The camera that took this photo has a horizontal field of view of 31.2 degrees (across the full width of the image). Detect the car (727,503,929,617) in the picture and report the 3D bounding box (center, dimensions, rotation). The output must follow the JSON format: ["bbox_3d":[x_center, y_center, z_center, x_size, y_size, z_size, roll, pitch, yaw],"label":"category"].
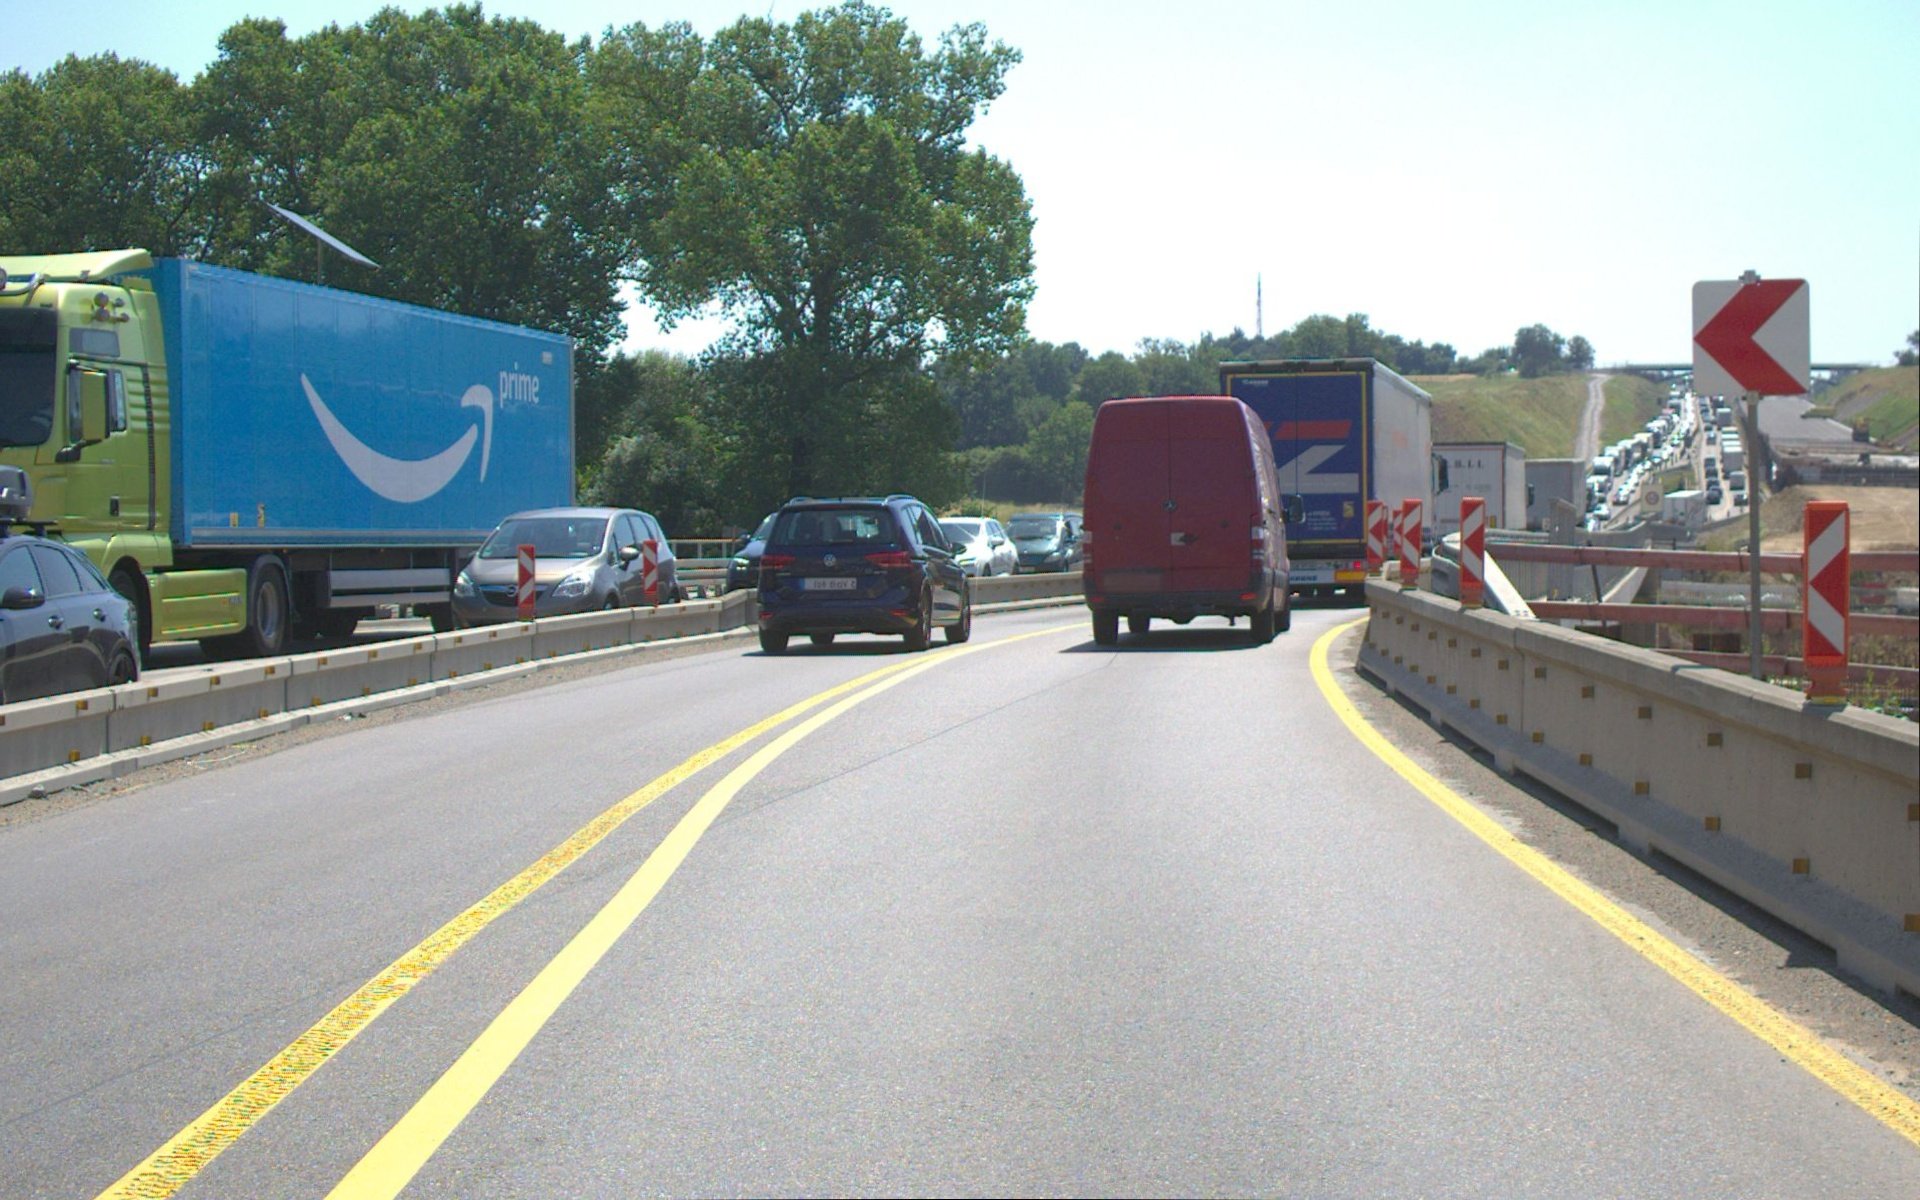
[{"bbox_3d":[-1.953,-0.651,52.429,1.882,1.641,4.712,1,2,13],"label":"car"}]

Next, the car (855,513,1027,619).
[{"bbox_3d":[-0.286,-0.625,59.584,1.821,1.641,4.568,1,3,15],"label":"car"}]

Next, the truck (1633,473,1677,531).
[{"bbox_3d":[39.266,-5.530,194.301,2.292,3.185,6.480,0,1,11],"label":"truck"}]

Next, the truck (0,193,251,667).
[{"bbox_3d":[-8.991,-1.573,33.431,2.626,4.256,4.730,1,1,8],"label":"truck"}]

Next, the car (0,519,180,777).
[{"bbox_3d":[-6.244,0.240,20.751,1.820,1.430,4.583,0,2,3],"label":"car"}]

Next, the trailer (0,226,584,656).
[{"bbox_3d":[-7.682,-1.659,41.064,2.648,4.278,13.303,1,1,10],"label":"trailer"}]

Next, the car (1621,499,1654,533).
[{"bbox_3d":[34.394,-4.252,174.572,1.618,1.694,3.888,1,1,11],"label":"car"}]

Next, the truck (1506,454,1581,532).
[{"bbox_3d":[27.307,-4.933,160.632,3.185,2.967,8.894,0,-3,11],"label":"truck"}]

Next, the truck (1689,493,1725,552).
[{"bbox_3d":[51.885,-5.360,238.849,2.292,3.726,6.478,0,-3,12],"label":"truck"}]

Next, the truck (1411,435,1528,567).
[{"bbox_3d":[15.899,-3.041,106.967,3.183,3.976,6.738,0,1,12],"label":"truck"}]

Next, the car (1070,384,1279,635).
[{"bbox_3d":[2.447,-0.930,38.649,2.150,2.602,5.437,1,0,4],"label":"car"}]

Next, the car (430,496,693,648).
[{"bbox_3d":[-4.412,-0.312,38.741,1.821,1.579,4.299,1,0,9],"label":"car"}]

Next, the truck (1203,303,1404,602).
[{"bbox_3d":[6.127,-2.495,60.410,2.946,4.928,6.738,0,1,11],"label":"truck"}]

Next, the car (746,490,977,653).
[{"bbox_3d":[-1.014,-0.367,37.650,1.734,1.629,4.388,0,2,9],"label":"car"}]
